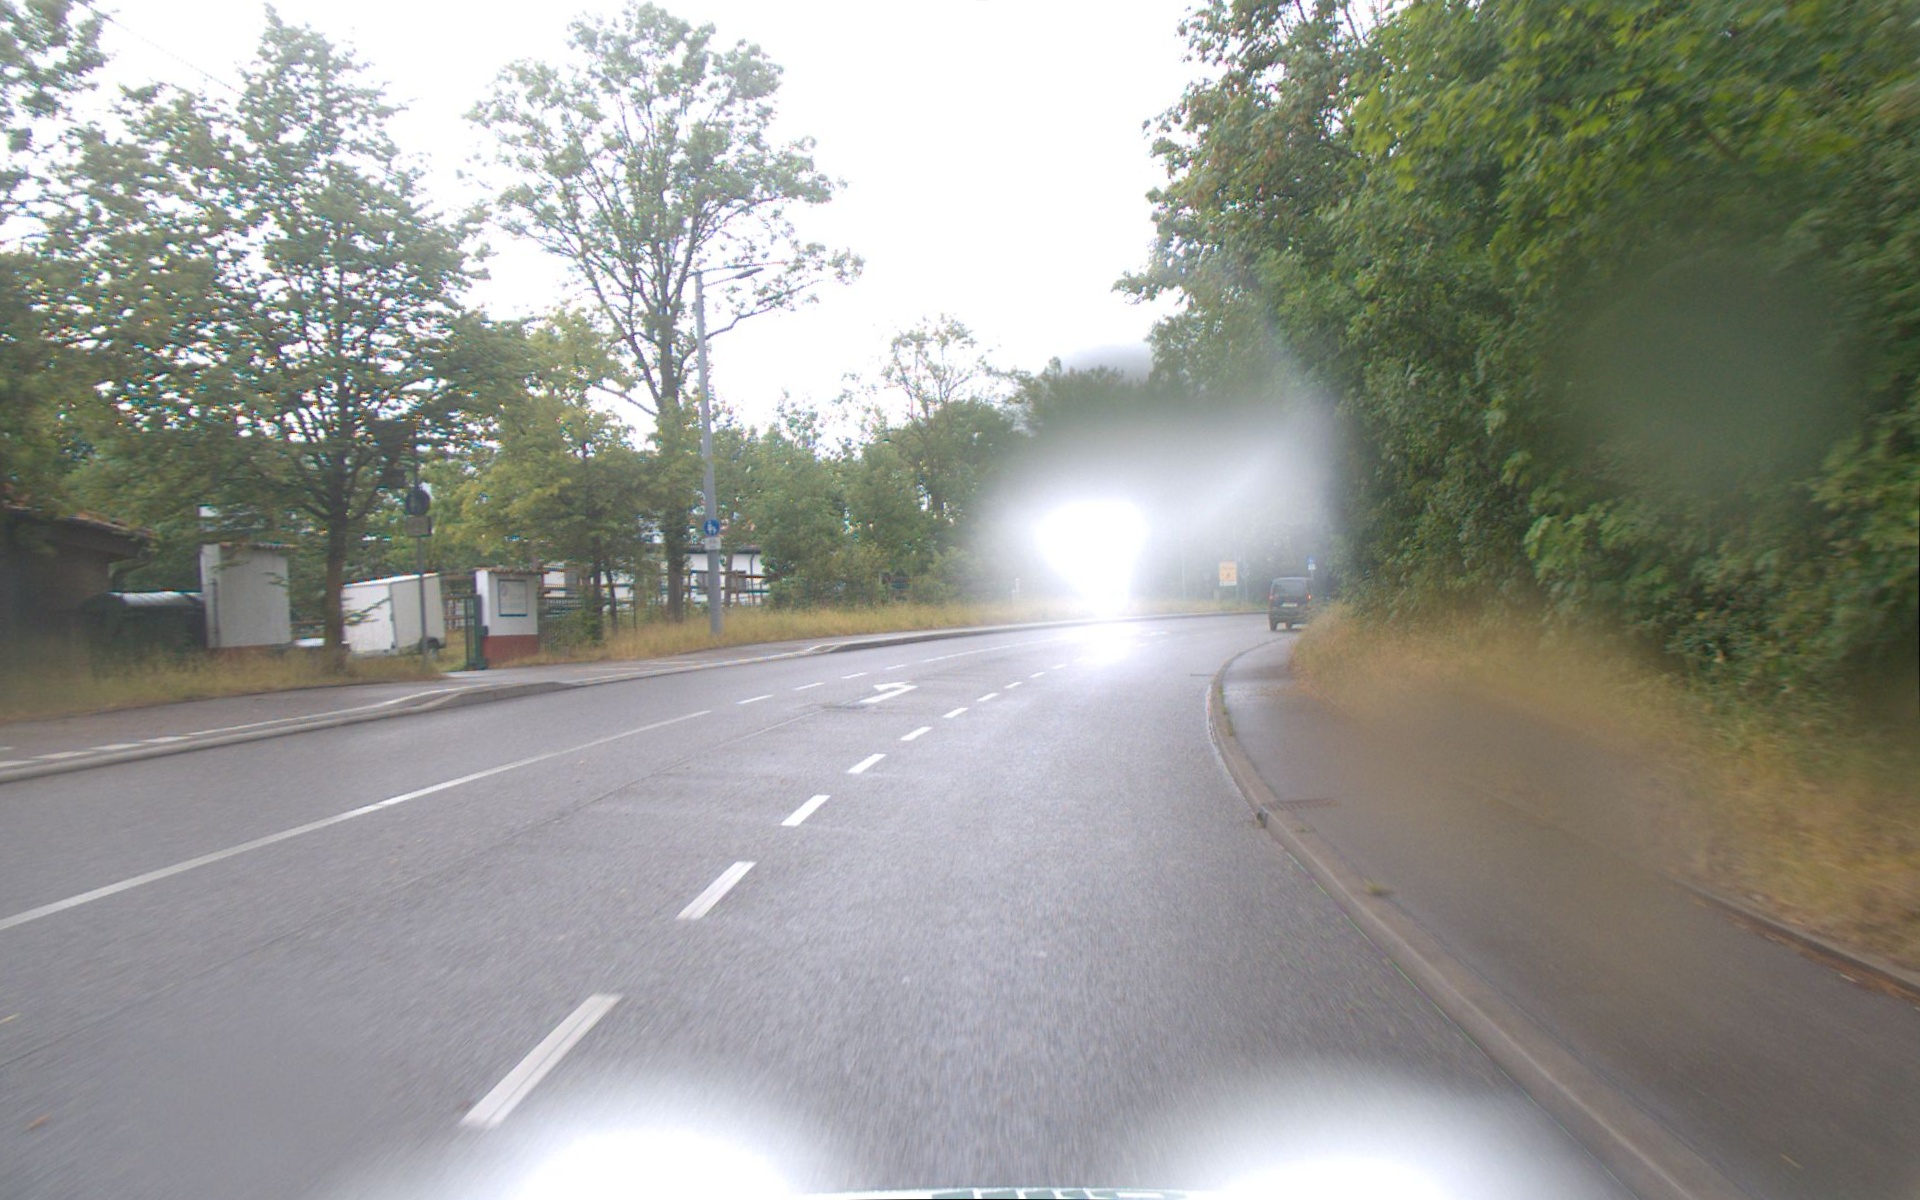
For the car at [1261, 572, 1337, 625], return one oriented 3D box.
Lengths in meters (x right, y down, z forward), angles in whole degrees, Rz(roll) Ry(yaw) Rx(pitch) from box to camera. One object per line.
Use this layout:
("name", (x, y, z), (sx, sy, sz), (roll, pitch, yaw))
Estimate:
("car", (12.173, -0.036, 59.205), (1.791, 1.825, 3.997), (0, 0, 25))
